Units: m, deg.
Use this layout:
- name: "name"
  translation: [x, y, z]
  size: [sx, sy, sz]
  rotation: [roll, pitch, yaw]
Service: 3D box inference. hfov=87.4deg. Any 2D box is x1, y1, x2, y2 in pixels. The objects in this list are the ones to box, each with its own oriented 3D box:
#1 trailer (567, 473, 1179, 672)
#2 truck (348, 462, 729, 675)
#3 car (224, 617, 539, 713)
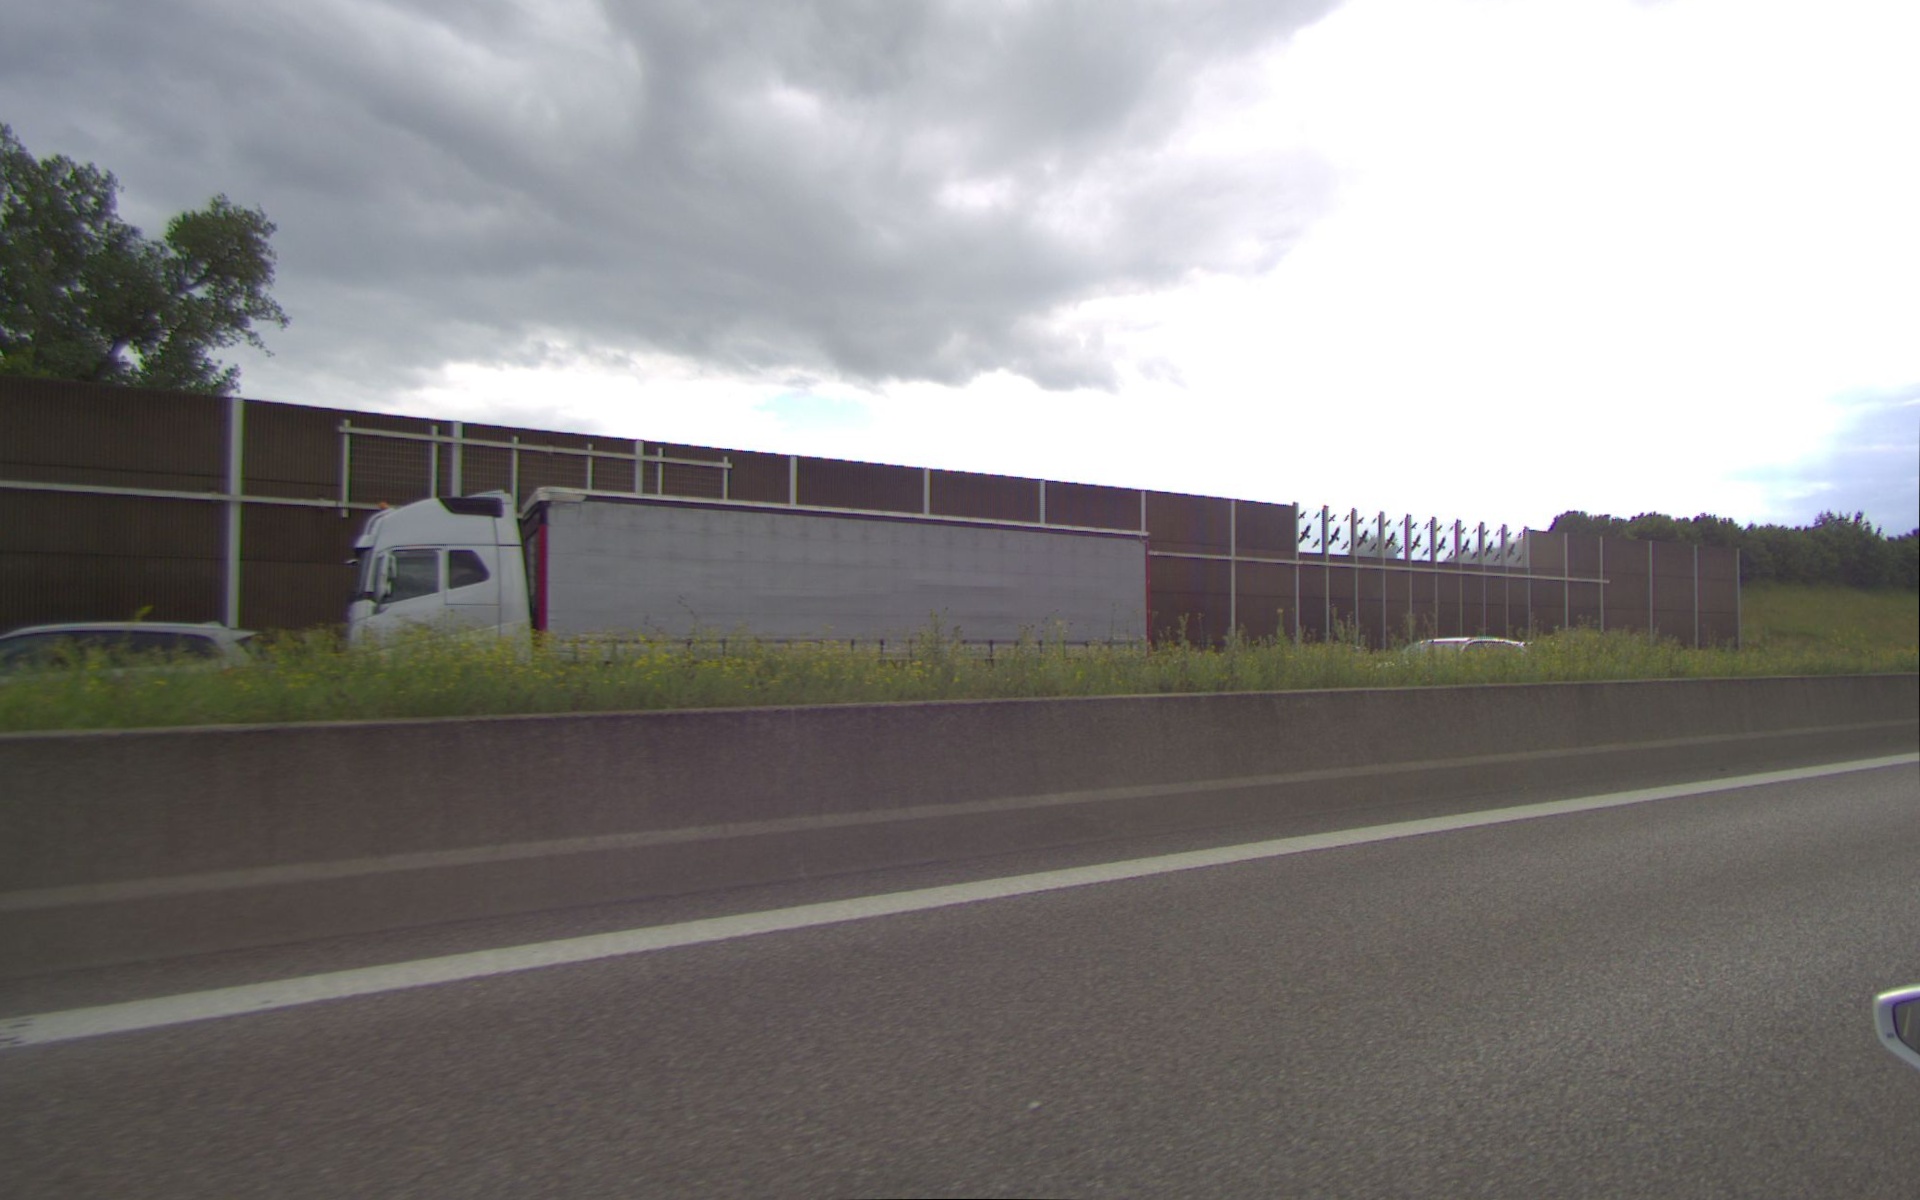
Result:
- name: "trailer"
  translation: [-1.228, -0.294, 21.810]
  size: [13.351, 3.421, 2.807]
  rotation: [2, -1, -30]
- name: "truck"
  translation: [-7.482, -0.393, 18.125]
  size: [5.910, 3.270, 2.811]
  rotation: [1, -1, -30]
- name: "car"
  translation: [-7.499, 0.812, 13.273]
  size: [3.390, 1.073, 1.671]
  rotation: [2, 0, -30]
